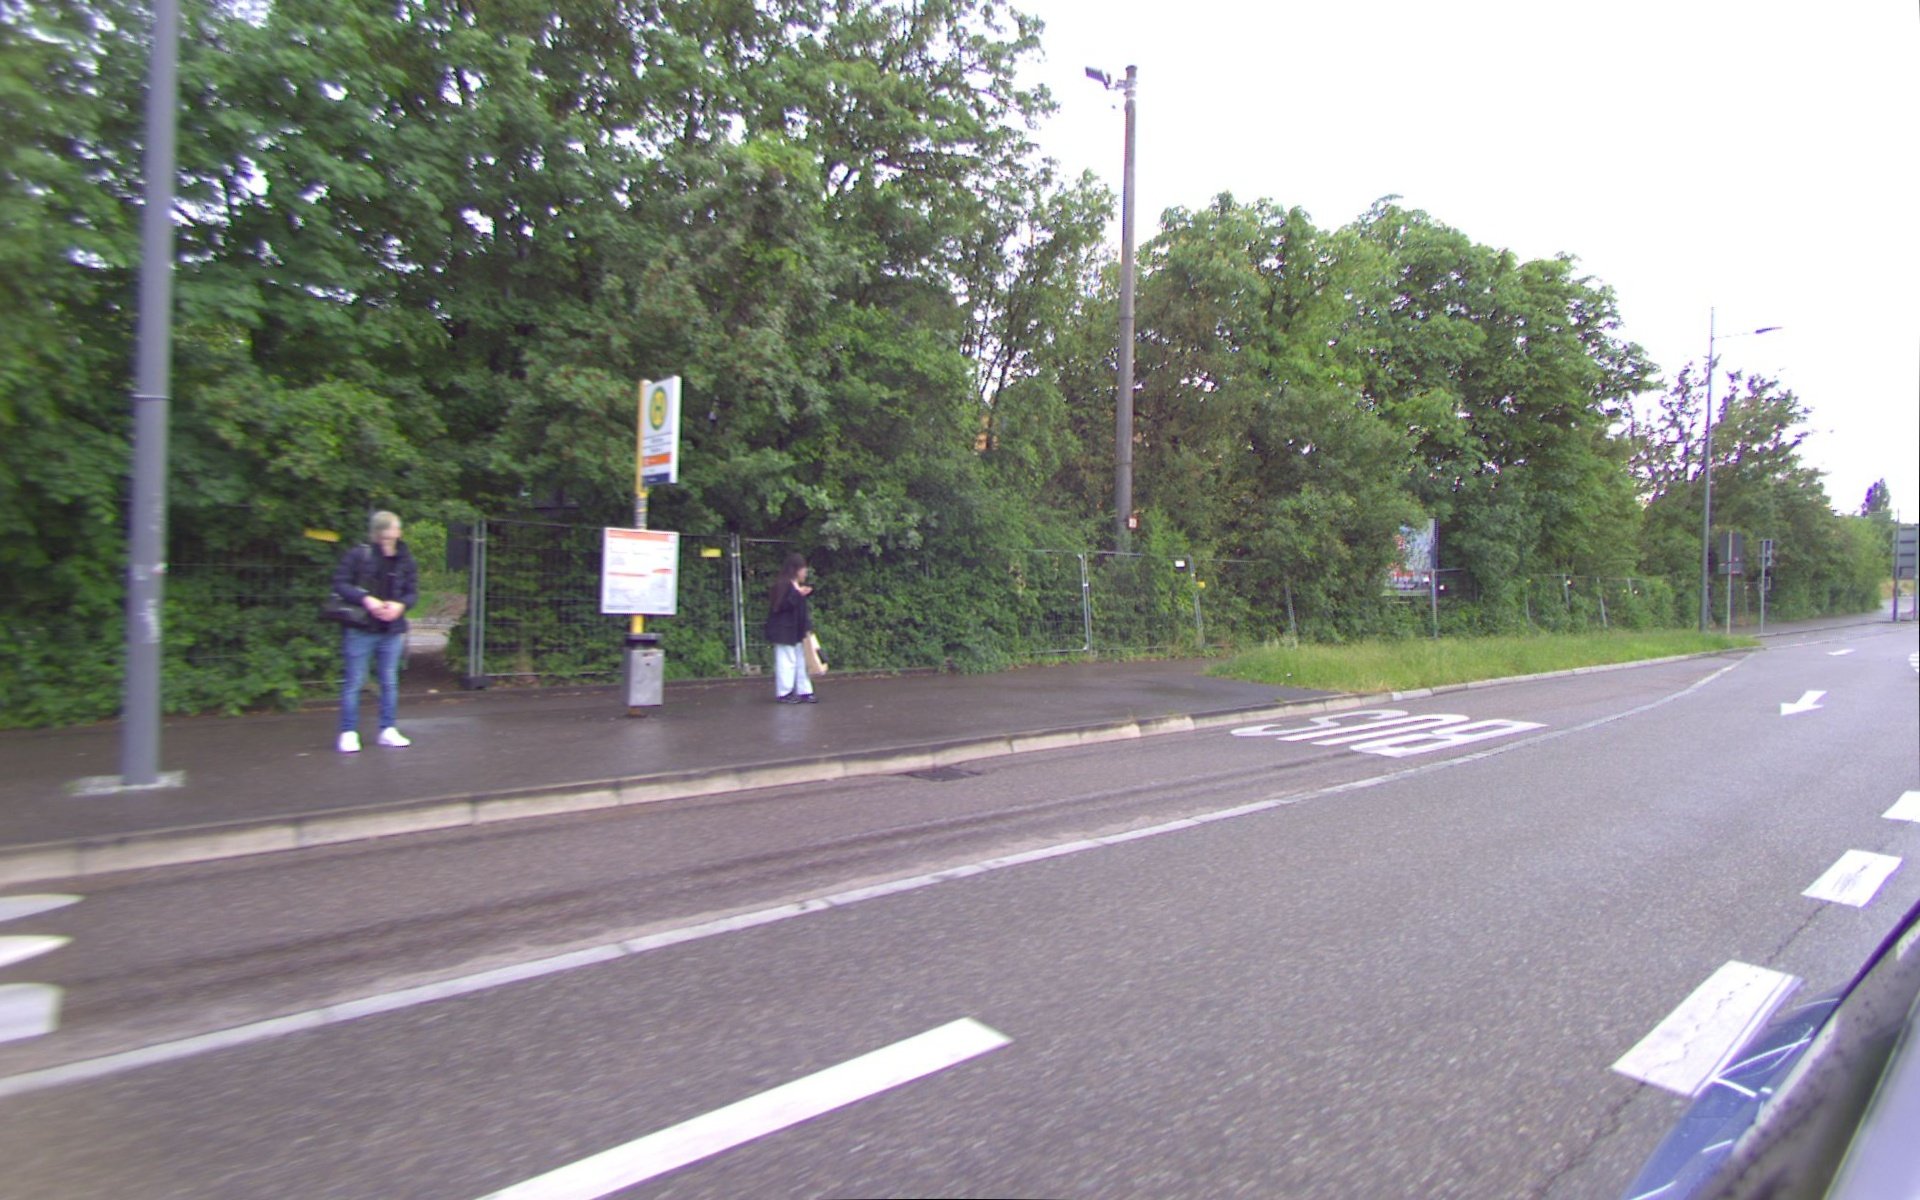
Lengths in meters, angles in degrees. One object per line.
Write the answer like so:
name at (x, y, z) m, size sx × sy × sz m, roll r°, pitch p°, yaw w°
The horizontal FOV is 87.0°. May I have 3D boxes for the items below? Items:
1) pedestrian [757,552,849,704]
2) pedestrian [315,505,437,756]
pedestrian at (-1.803, 0.297, 11.650) m, size 0.676 × 1.678 × 0.780 m, roll 2°, pitch 1°, yaw 45°
pedestrian at (-4.745, 0.223, 8.226) m, size 0.641 × 1.924 × 0.707 m, roll 2°, pitch 1°, yaw 45°
